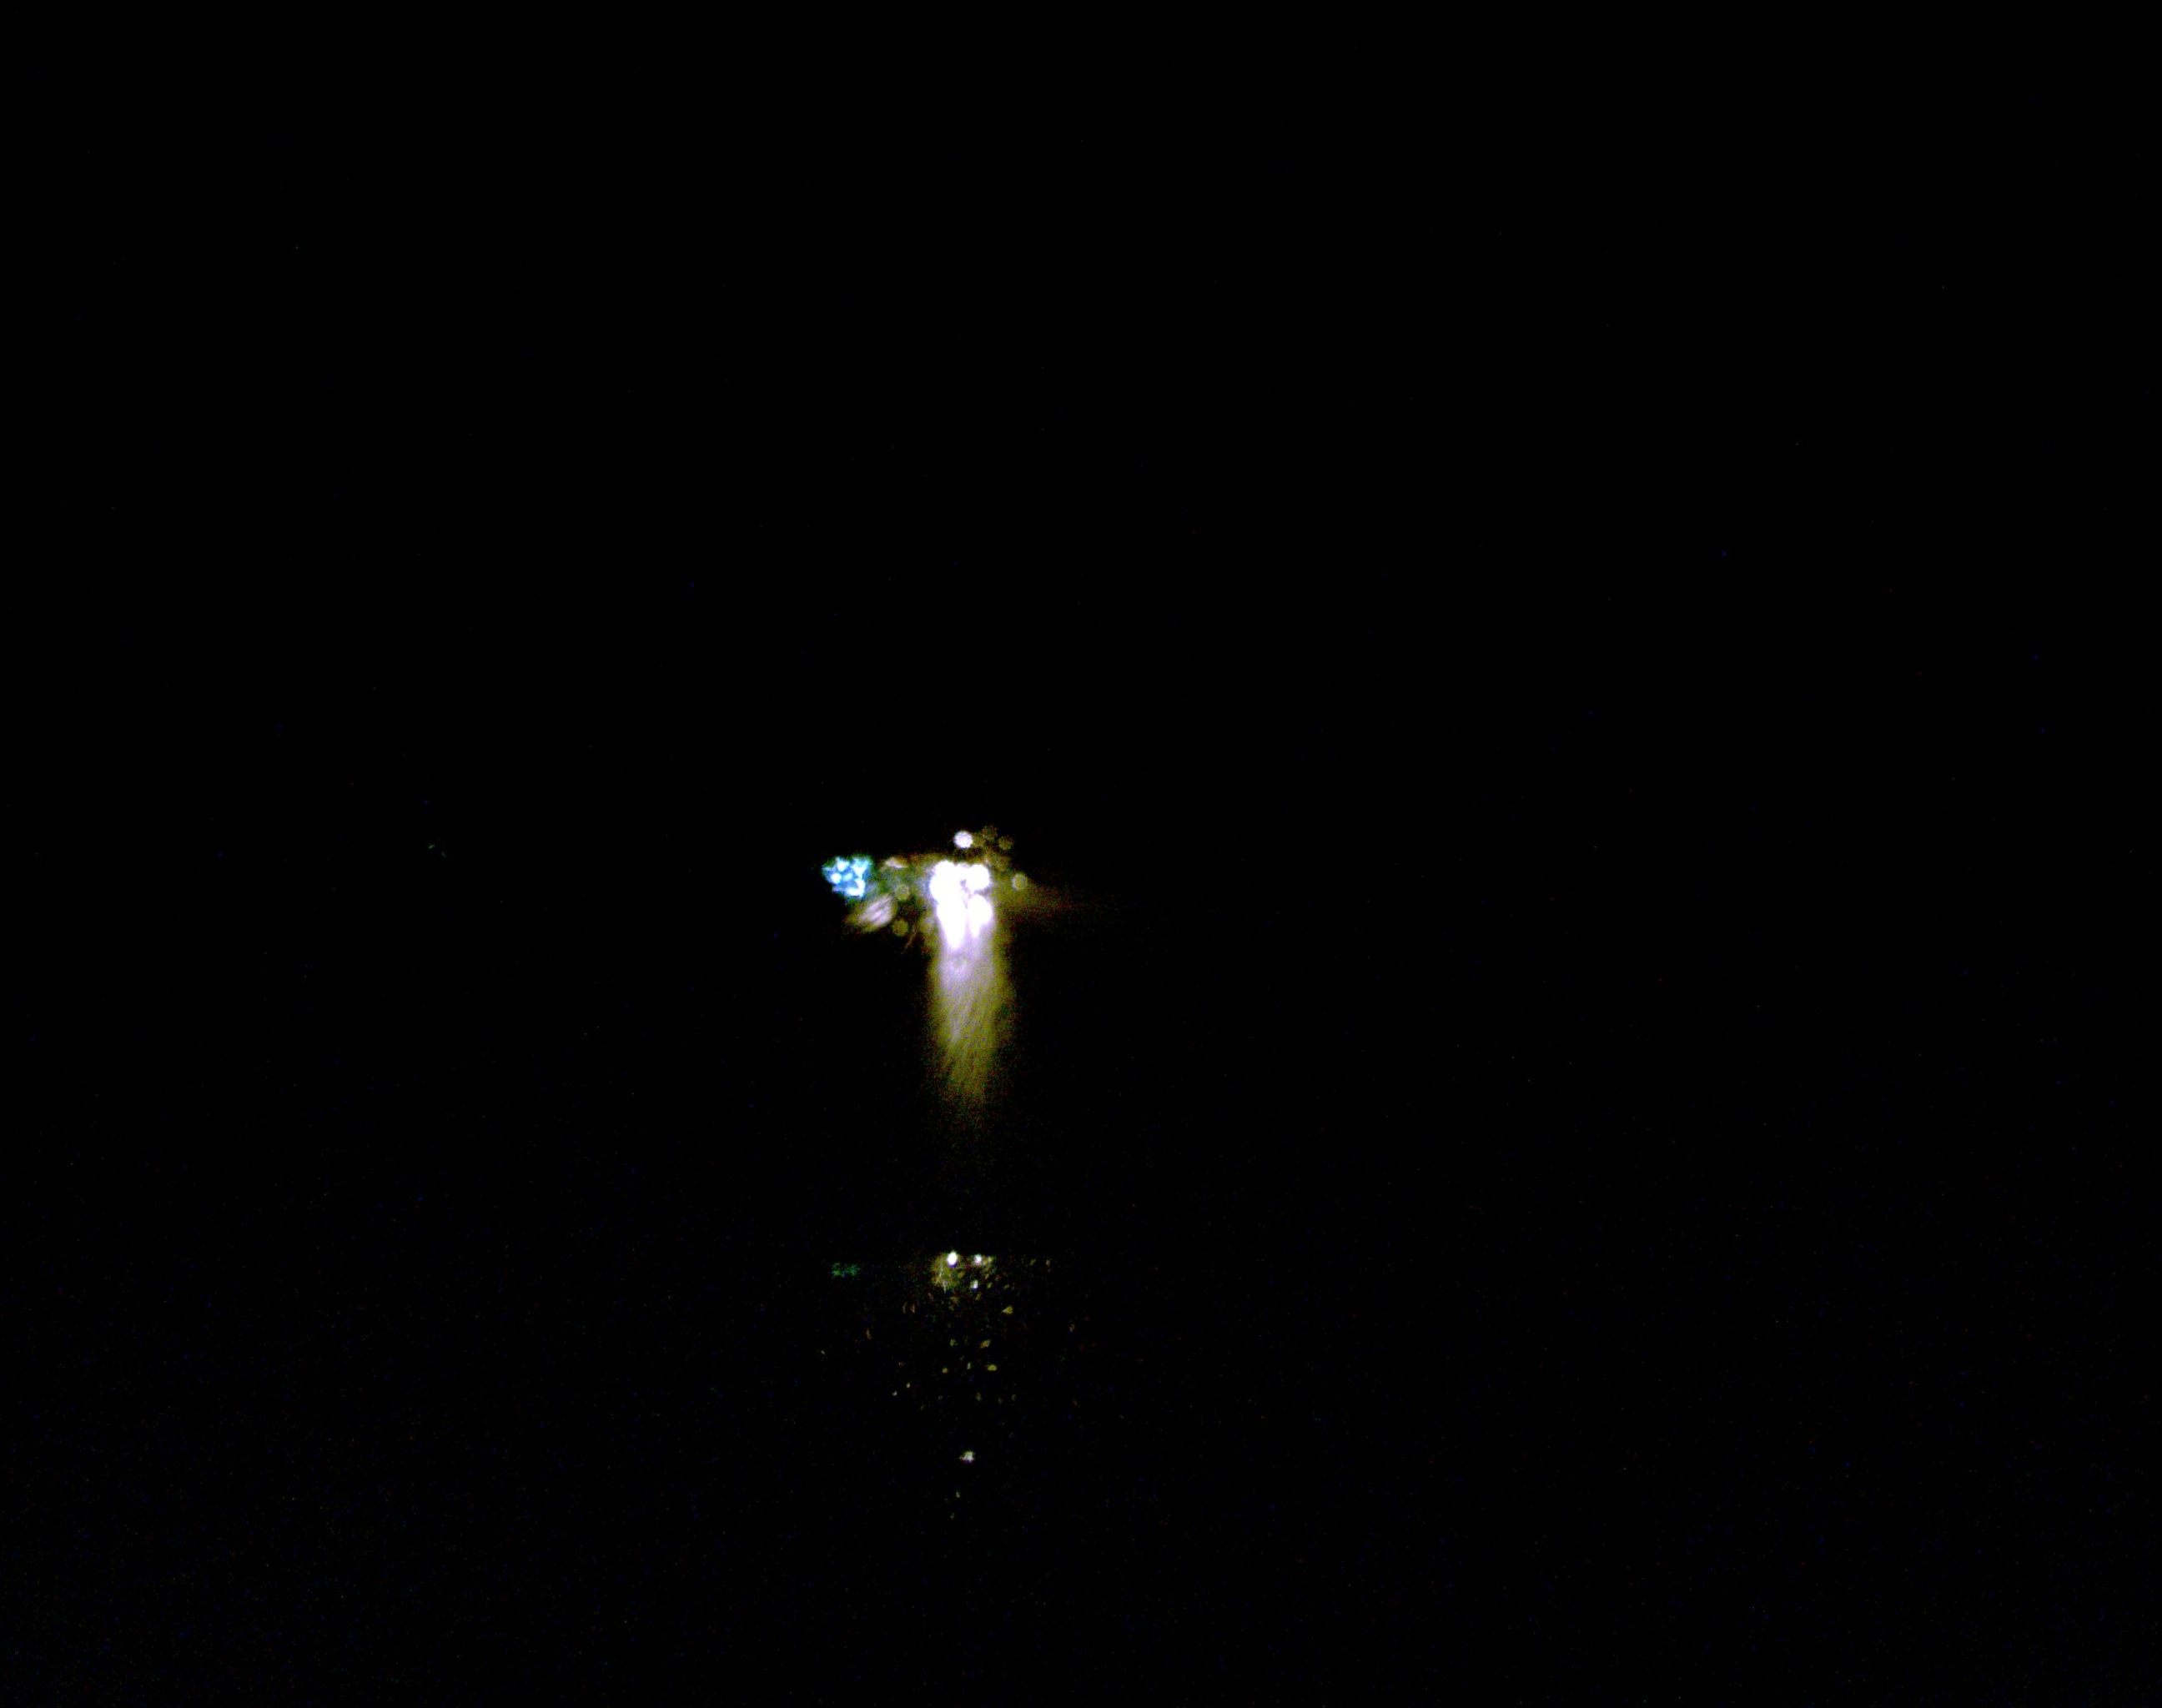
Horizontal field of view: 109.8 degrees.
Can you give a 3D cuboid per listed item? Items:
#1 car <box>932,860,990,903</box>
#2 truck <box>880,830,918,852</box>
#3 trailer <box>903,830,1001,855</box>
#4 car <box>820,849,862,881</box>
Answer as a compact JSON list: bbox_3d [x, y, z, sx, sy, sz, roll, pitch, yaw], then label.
[{"bbox_3d":[-5.386,1.155,33.645,1.895,1.603,3.992,0,2,-18],"label":"car"},{"bbox_3d":[-22.478,-1.629,93.946,4.331,2.715,2.003,2,3,27],"label":"truck"},{"bbox_3d":[-15.442,-1.418,90.179,12.976,2.713,2.003,2,3,28],"label":"trailer"},{"bbox_3d":[-17.606,0.767,55.595,2.002,2.003,3.990,-7,4,-28],"label":"car"}]
